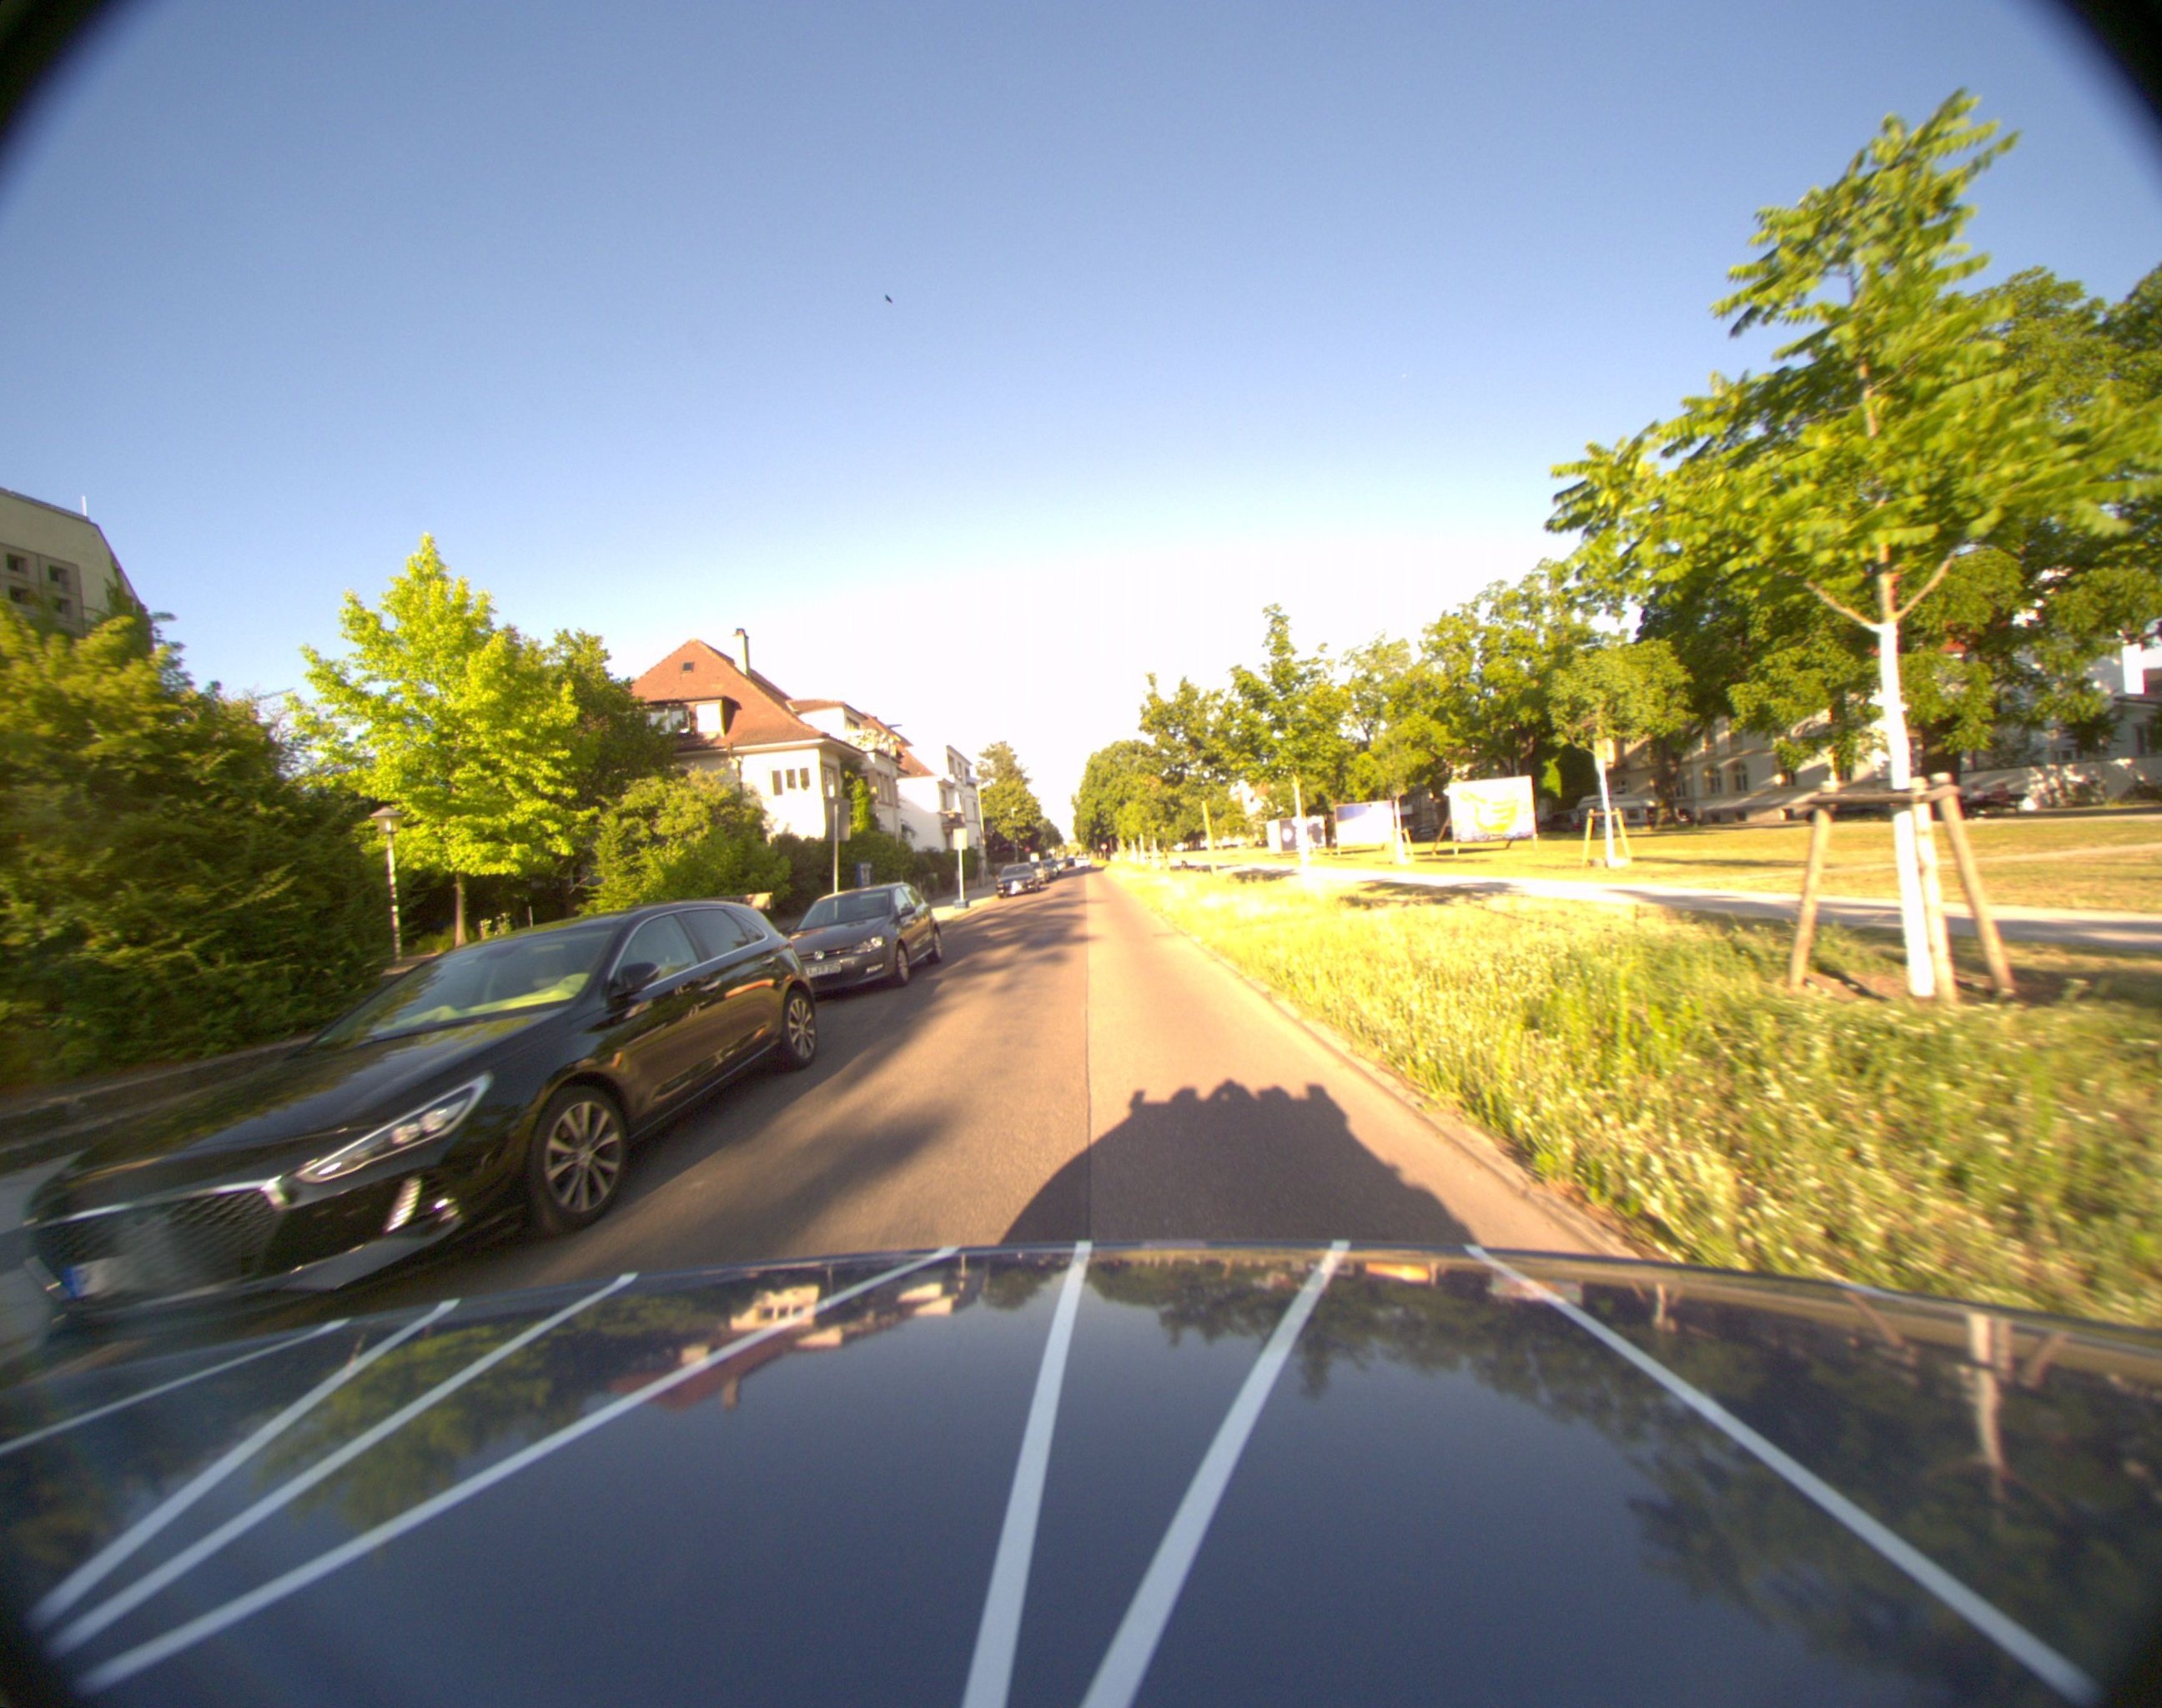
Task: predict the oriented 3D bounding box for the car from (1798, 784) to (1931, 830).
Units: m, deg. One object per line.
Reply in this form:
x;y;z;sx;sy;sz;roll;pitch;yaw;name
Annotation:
39.986;-2.359;38.992;1.894;1.901;4.714;-5;0;1;car

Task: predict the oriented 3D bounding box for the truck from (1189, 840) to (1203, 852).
35.425;-2.438;233.528;2.785;3.127;7.710;-5;0;-1;truck

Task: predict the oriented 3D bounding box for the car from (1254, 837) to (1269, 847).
34.714;-2.370;146.222;1.998;1.833;3.999;-1;1;1;car

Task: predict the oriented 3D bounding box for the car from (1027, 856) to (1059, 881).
-2.844;1.133;58.190;1.916;1.550;4.567;-9;-1;1;car

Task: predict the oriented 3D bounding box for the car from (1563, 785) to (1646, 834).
39.853;-3.294;58.069;1.998;3.230;6.075;-4;0;0;car

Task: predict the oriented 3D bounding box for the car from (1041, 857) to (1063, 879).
-2.718;1.325;72.820;1.806;1.639;4.583;-9;1;-1;car

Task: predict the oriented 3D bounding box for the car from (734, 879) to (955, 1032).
-3.201;1.290;11.243;1.692;1.519;4.175;-9;-1;1;car

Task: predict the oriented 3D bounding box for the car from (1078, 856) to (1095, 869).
0.620;1.011;96.017;1.999;1.483;4.000;-3;0;-1;car

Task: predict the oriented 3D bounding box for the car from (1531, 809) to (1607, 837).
34.155;-2.124;53.373;1.999;1.632;4.950;-6;0;-1;car

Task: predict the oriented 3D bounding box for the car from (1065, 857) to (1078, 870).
-1.766;1.700;138.349;1.998;2.179;4.001;-4;-1;1;car

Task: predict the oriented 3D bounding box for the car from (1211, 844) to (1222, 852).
35.293;-1.662;197.616;2.125;2.002;3.999;-1;1;-1;car

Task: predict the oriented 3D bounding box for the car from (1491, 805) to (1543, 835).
40.092;-3.069;70.025;1.950;2.625;5.043;-1;1;1;car

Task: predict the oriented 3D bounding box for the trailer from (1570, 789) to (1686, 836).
33.954;-2.509;47.524;2.479;2.644;6.635;-1;1;0;trailer

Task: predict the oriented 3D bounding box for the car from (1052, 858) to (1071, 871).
-2.598;1.349;101.468;2.111;1.396;4.132;-10;0;1;car

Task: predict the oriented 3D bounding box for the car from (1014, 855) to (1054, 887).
-2.922;1.028;47.825;1.888;1.528;4.461;-8;1;2;car

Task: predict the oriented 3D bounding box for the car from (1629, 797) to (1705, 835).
39.545;-2.526;51.418;1.998;2.142;4.000;-5;0;1;car

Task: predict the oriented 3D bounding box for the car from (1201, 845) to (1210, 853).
35.642;-1.507;217.830;1.998;2.001;4.001;-4;-1;3;car

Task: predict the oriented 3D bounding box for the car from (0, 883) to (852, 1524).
-3.151;1.186;4.531;1.827;1.552;4.622;-11;0;1;car

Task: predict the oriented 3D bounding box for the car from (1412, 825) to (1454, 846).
34.366;-1.751;74.270;1.999;1.718;4.345;-4;-1;-1;car

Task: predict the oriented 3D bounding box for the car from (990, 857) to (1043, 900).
-3.050;1.111;36.897;1.999;1.588;4.885;-9;1;0;car

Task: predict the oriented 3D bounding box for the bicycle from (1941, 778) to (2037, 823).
30.879;-1.788;25.908;0.512;1.334;2.331;-5;0;4;bicycle

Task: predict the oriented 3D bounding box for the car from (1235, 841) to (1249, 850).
35.208;-1.774;166.246;1.998;1.692;4.000;-4;-1;1;car

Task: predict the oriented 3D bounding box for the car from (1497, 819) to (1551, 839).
34.112;-1.877;58.635;1.857;1.308;4.042;-6;0;3;car
